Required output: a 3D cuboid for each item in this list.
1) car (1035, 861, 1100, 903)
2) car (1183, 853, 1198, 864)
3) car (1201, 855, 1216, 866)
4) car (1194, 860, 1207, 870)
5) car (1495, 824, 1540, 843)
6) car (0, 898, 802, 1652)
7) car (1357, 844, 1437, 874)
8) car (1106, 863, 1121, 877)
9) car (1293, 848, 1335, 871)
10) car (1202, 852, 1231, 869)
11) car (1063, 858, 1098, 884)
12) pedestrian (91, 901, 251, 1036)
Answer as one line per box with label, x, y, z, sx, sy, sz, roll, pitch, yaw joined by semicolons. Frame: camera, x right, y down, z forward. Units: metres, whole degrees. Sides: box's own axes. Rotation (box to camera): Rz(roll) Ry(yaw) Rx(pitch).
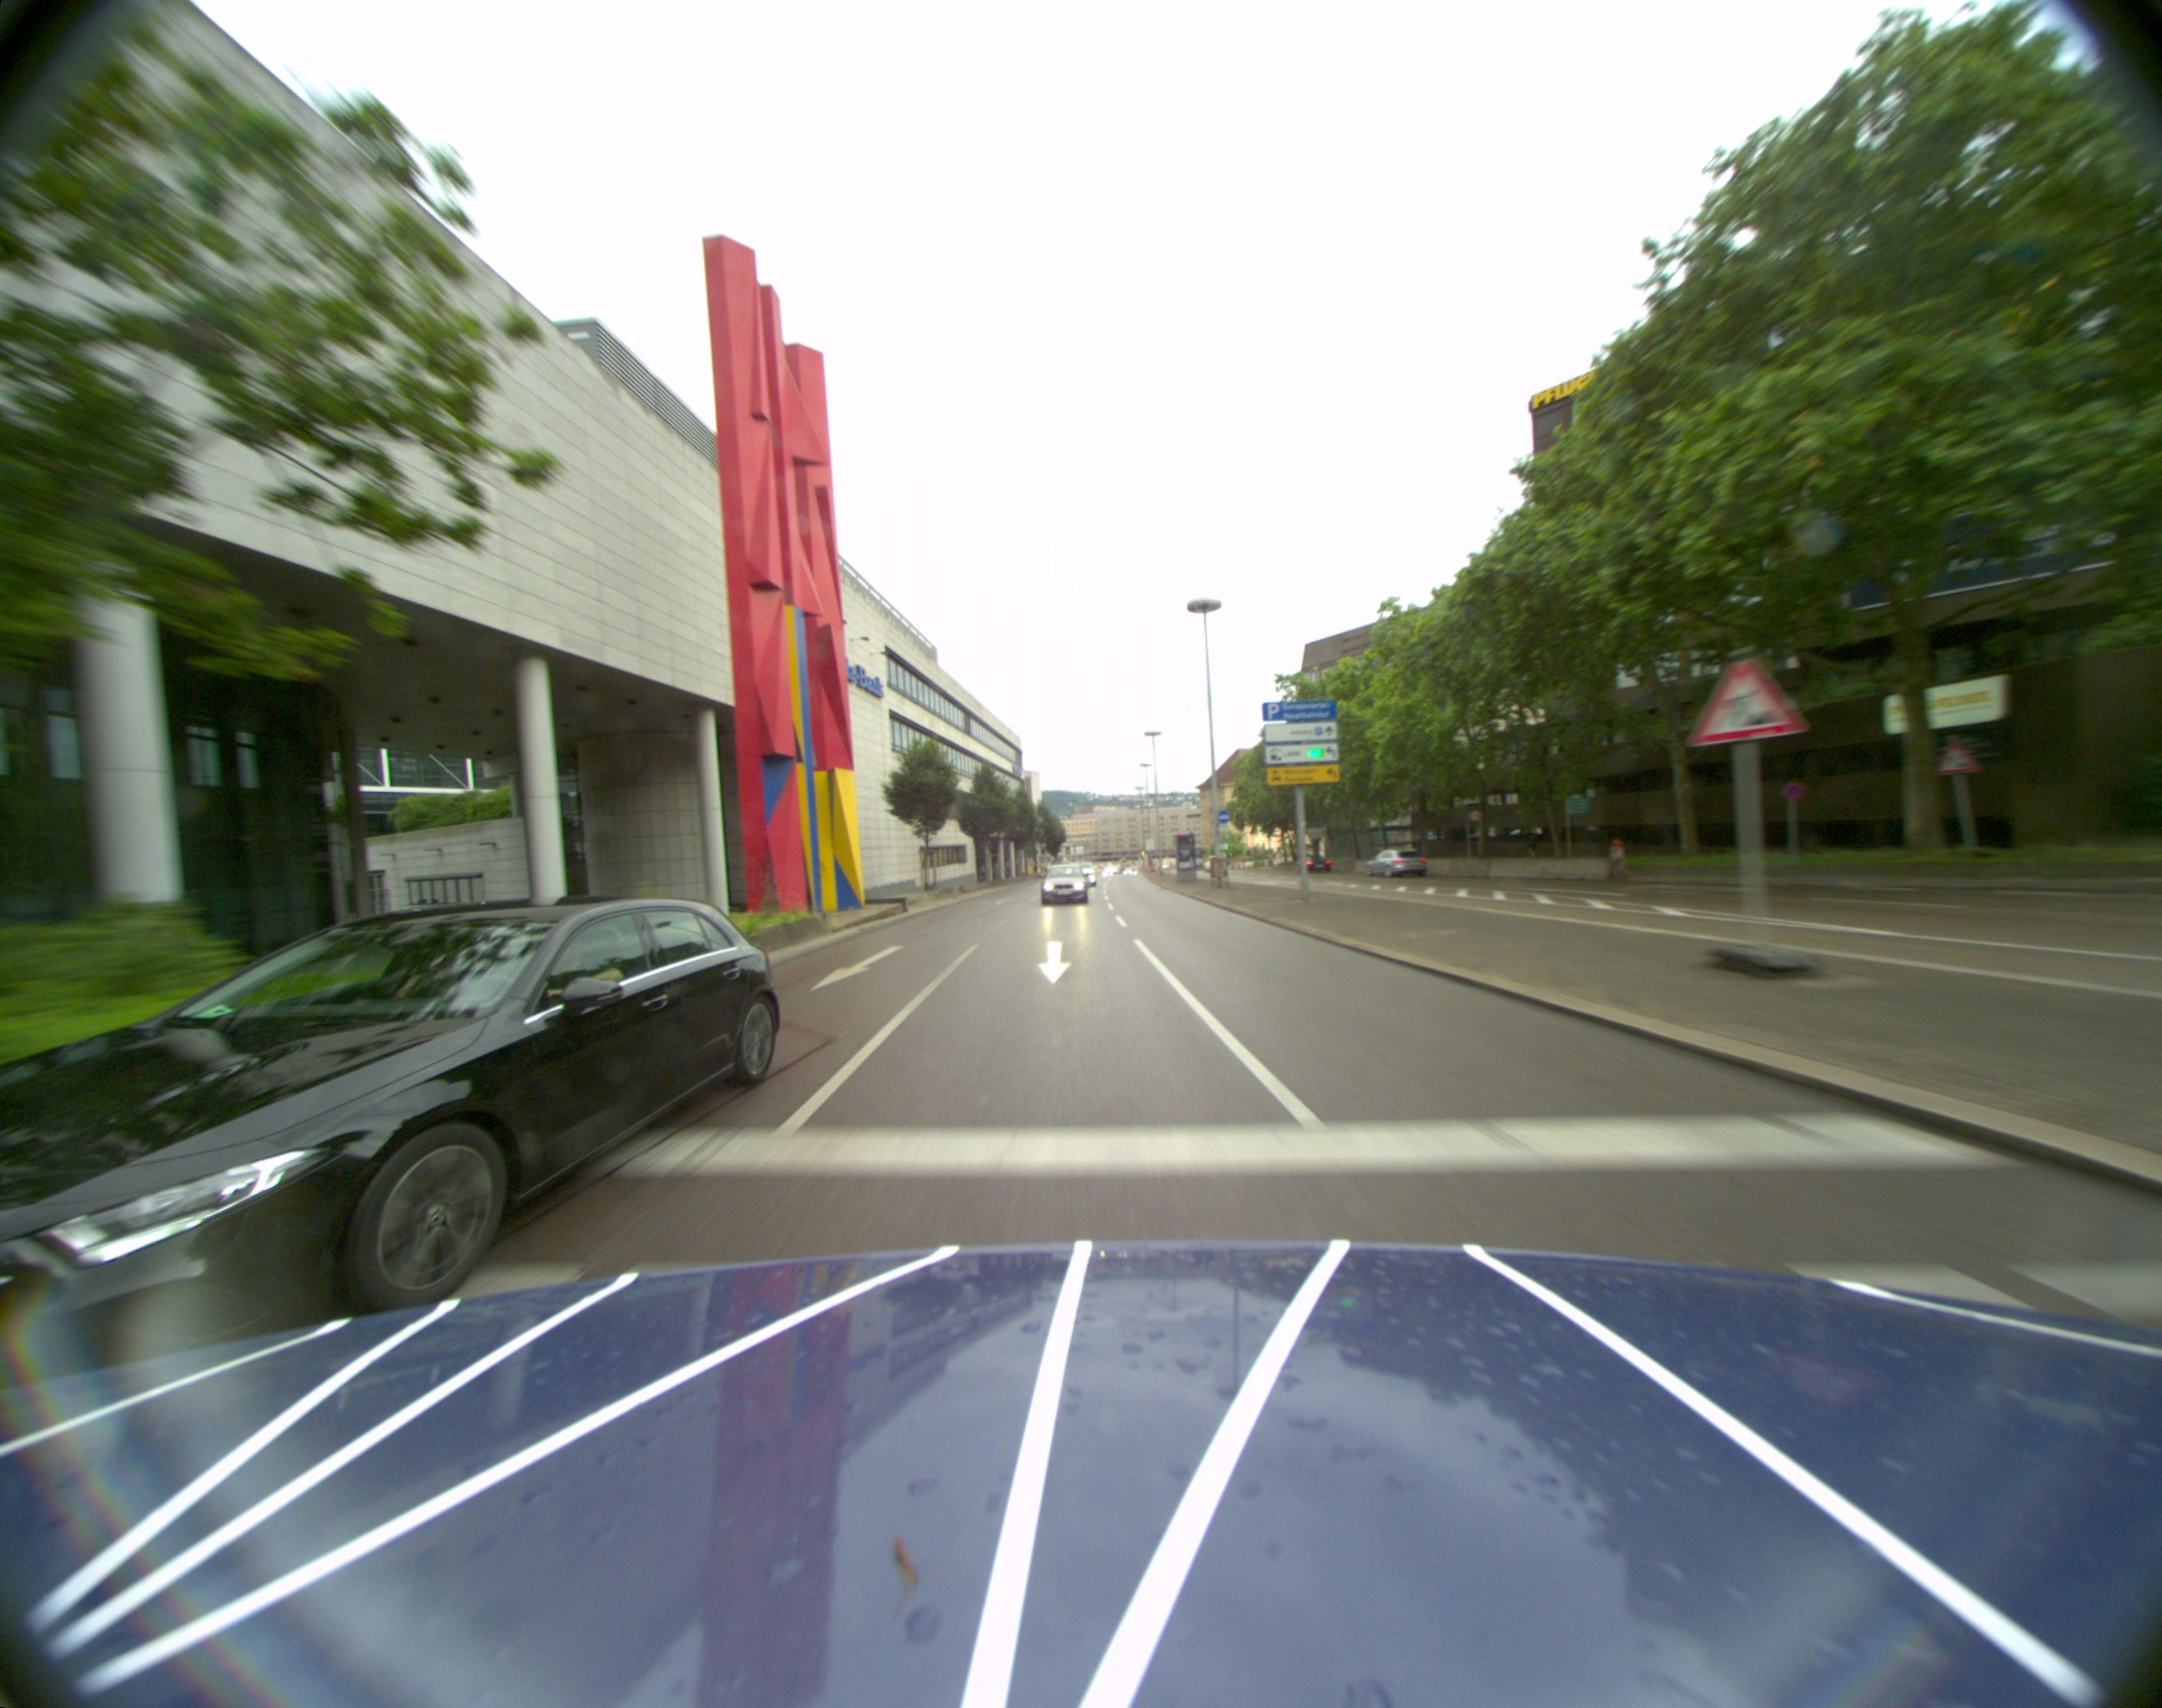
car;-0.432;1.033;28.985;1.862;1.428;4.208;-3;-1;6
car;15.862;0.648;110.103;1.798;1.477;3.865;-3;0;3
car;17.991;0.895;107.440;1.937;1.491;4.176;-2;-1;7
car;19.385;1.786;123.343;1.937;1.428;4.078;-2;-1;6
car;45.786;-2.151;79.724;3.990;1.706;2.004;-3;0;28
car;-3.186;1.066;3.661;1.877;1.428;4.206;-2;-1;3
car;16.443;0.255;39.860;1.999;1.439;4.880;-2;0;-2
car;5.078;2.426;118.790;1.998;2.002;4.002;-2;0;6
car;16.766;0.385;54.875;1.758;1.510;4.170;-2;0;1
car;12.335;0.569;69.563;1.759;1.510;3.739;-2;0;-3
car;0.024;1.008;46.389;1.862;1.449;4.207;-1;0;4
pedestrian;-11.650;1.436;9.761;0.972;1.577;0.842;-2;0;0
